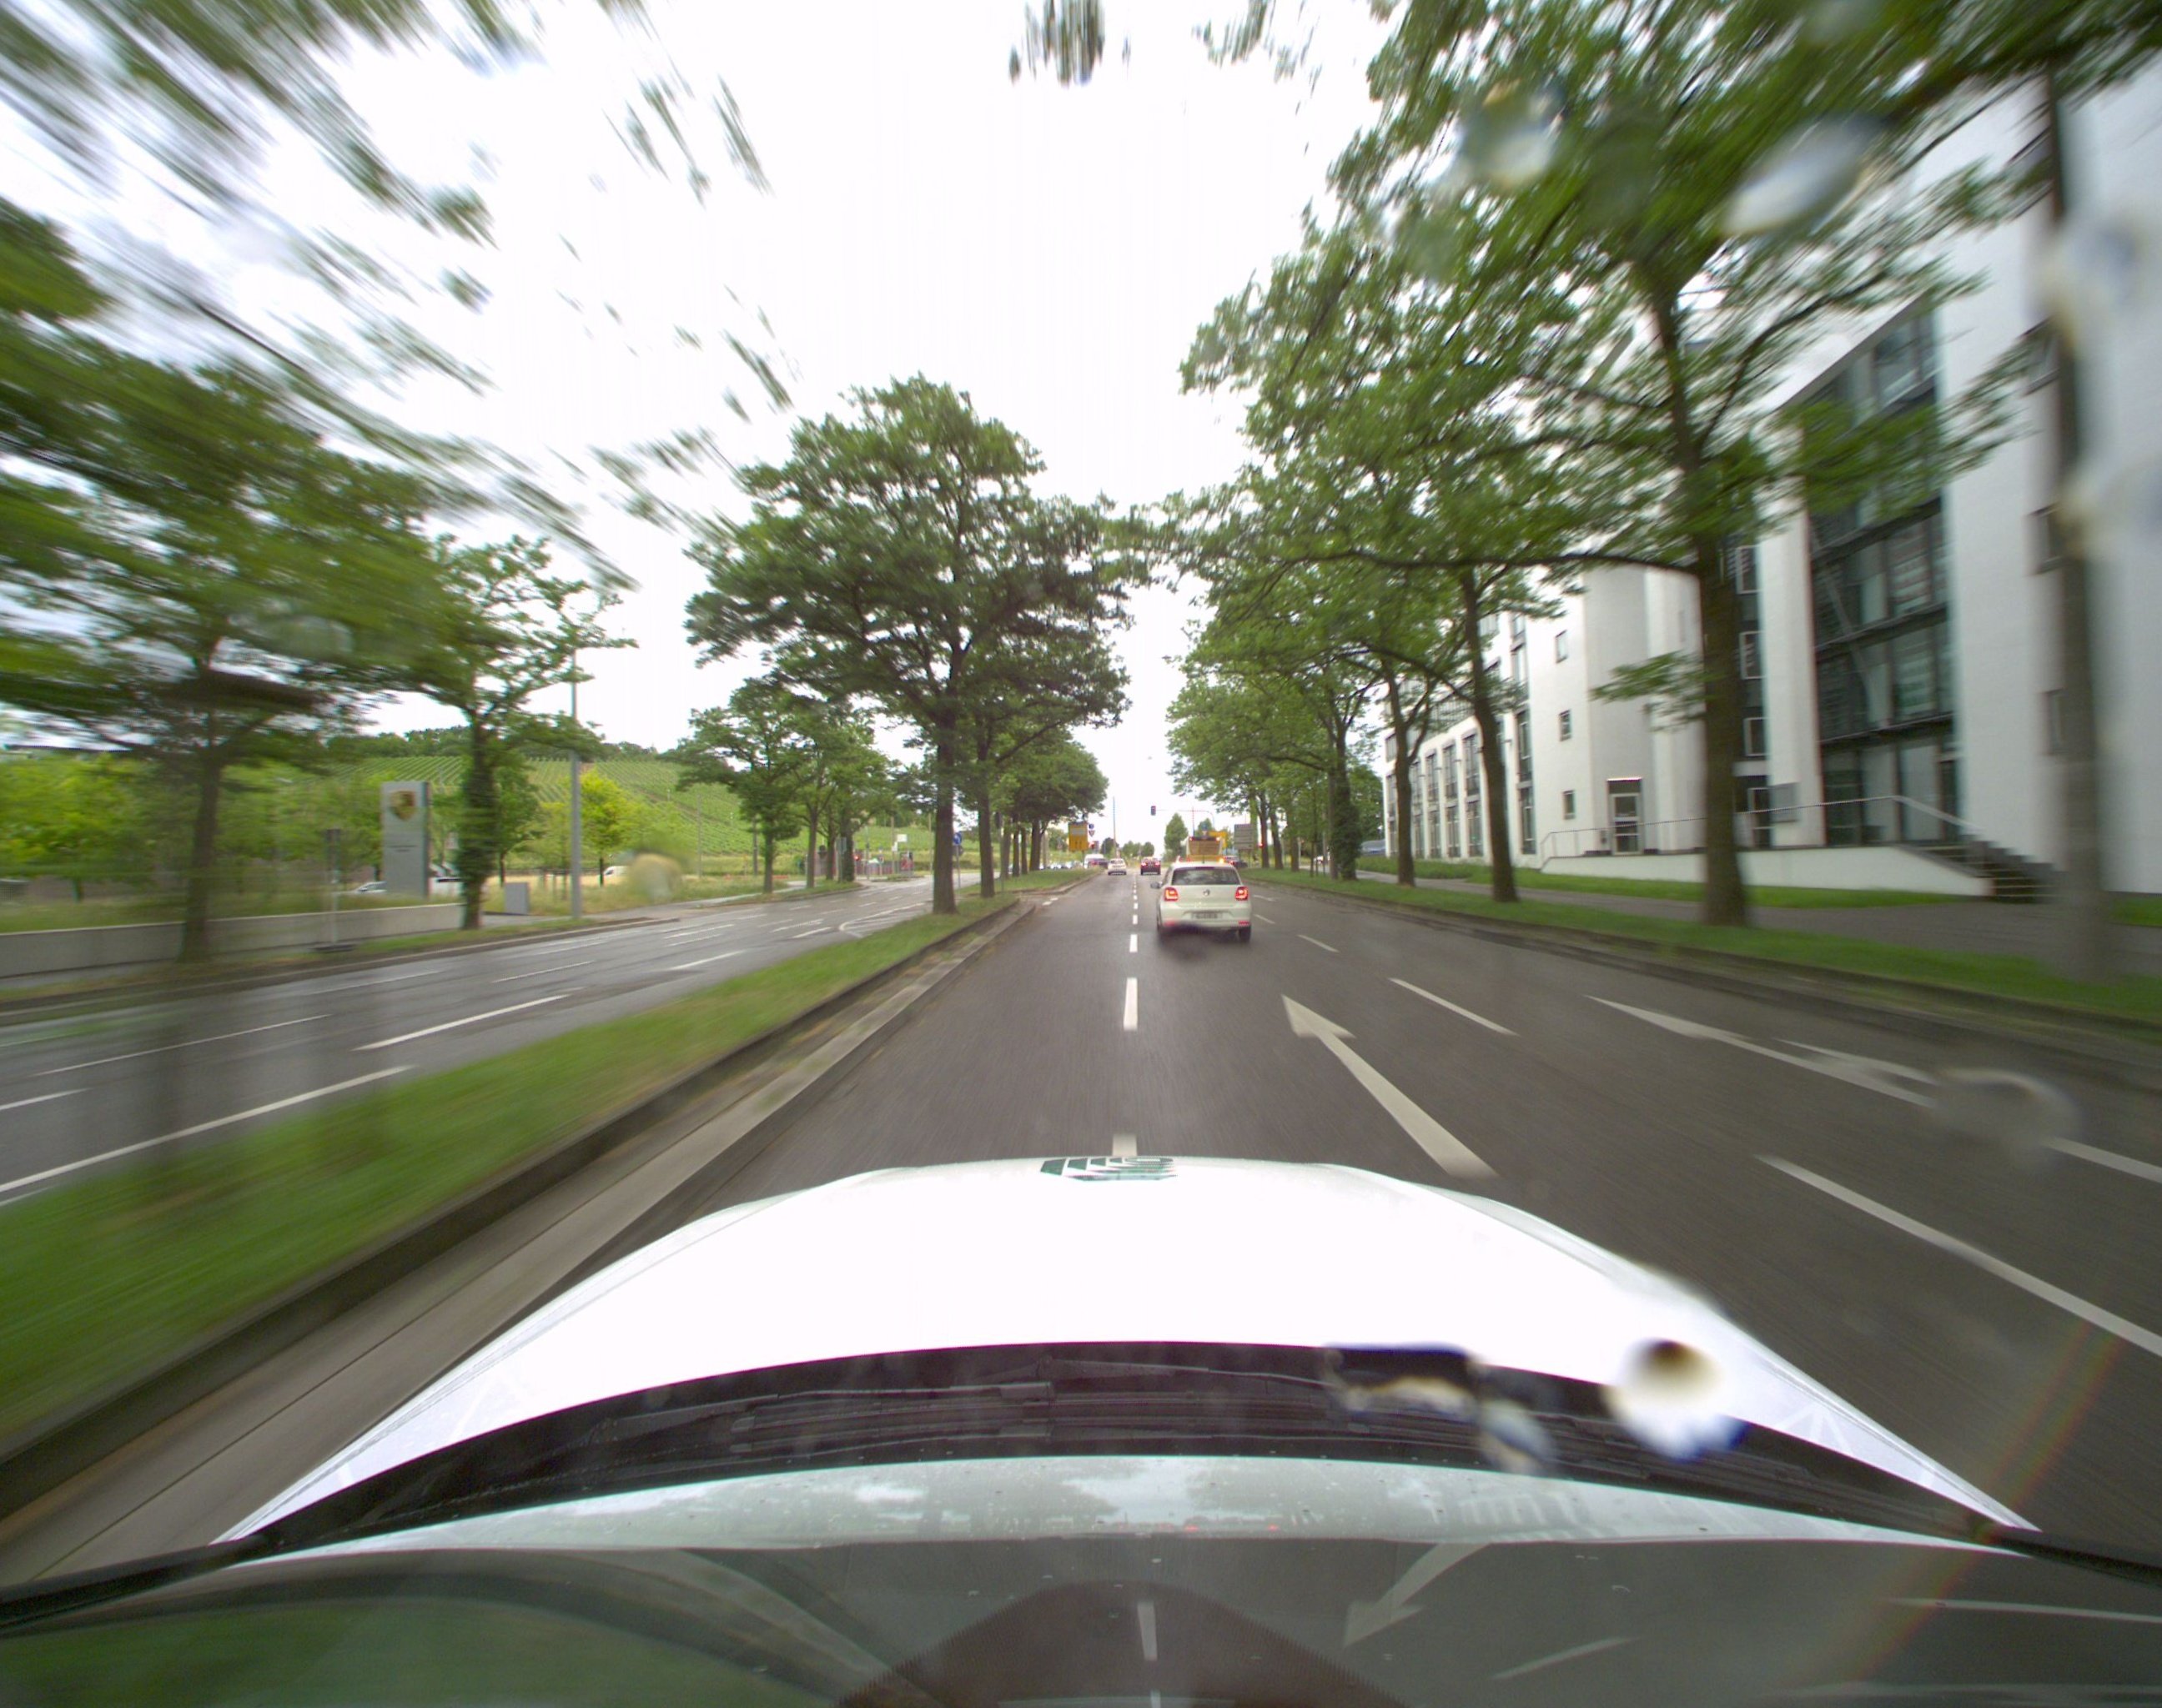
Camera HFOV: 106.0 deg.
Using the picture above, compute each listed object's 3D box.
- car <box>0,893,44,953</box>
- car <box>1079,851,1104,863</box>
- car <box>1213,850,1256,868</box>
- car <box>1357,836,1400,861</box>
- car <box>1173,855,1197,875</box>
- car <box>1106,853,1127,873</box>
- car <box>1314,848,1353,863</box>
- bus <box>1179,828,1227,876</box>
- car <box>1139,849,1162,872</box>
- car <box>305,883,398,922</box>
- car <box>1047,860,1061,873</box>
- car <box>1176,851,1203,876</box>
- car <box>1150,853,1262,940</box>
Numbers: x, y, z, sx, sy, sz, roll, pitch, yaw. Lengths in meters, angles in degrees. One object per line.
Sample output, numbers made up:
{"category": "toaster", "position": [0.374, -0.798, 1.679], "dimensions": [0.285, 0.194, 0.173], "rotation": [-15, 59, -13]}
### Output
{"category": "car", "position": [-39.405, 2.513, 28.092], "dimensions": [3.994, 2.013, 1.990], "rotation": [-3, 0, -15]}
{"category": "car", "position": [2.043, 0.579, 153.725], "dimensions": [1.974, 2.013, 5.747], "rotation": [-3, 0, 32]}
{"category": "car", "position": [13.773, 0.414, 72.900], "dimensions": [3.847, 1.515, 1.680], "rotation": [-1, -1, -40]}
{"category": "car", "position": [34.127, -0.626, 93.478], "dimensions": [4.202, 2.563, 2.013], "rotation": [-3, -1, 32]}
{"category": "car", "position": [9.481, 0.995, 74.604], "dimensions": [1.984, 1.717, 4.005], "rotation": [-2, -1, 5]}
{"category": "car", "position": [3.340, 0.776, 75.597], "dimensions": [1.786, 1.741, 4.004], "rotation": [-2, 0, 4]}
{"category": "car", "position": [28.886, 0.137, 93.309], "dimensions": [3.950, 1.536, 2.012], "rotation": [-3, 0, 25]}
{"category": "bus", "position": [8.956, -0.133, 60.949], "dimensions": [2.815, 3.267, 10.013], "rotation": [-2, 0, 5]}
{"category": "car", "position": [6.251, 0.573, 73.610], "dimensions": [1.984, 2.013, 4.005], "rotation": [-2, 0, 5]}
{"category": "car", "position": [-43.908, 2.905, 49.053], "dimensions": [4.024, 2.013, 1.975], "rotation": [-2, 0, -45]}
{"category": "car", "position": [-4.272, 2.044, 130.394], "dimensions": [1.986, 2.014, 4.000], "rotation": [-2, -2, 1]}
{"category": "car", "position": [9.242, 0.854, 69.578], "dimensions": [1.984, 2.014, 4.005], "rotation": [-2, -1, 5]}
{"category": "car", "position": [2.353, 0.764, 16.219], "dimensions": [1.787, 1.502, 4.003], "rotation": [-1, -1, 3]}
